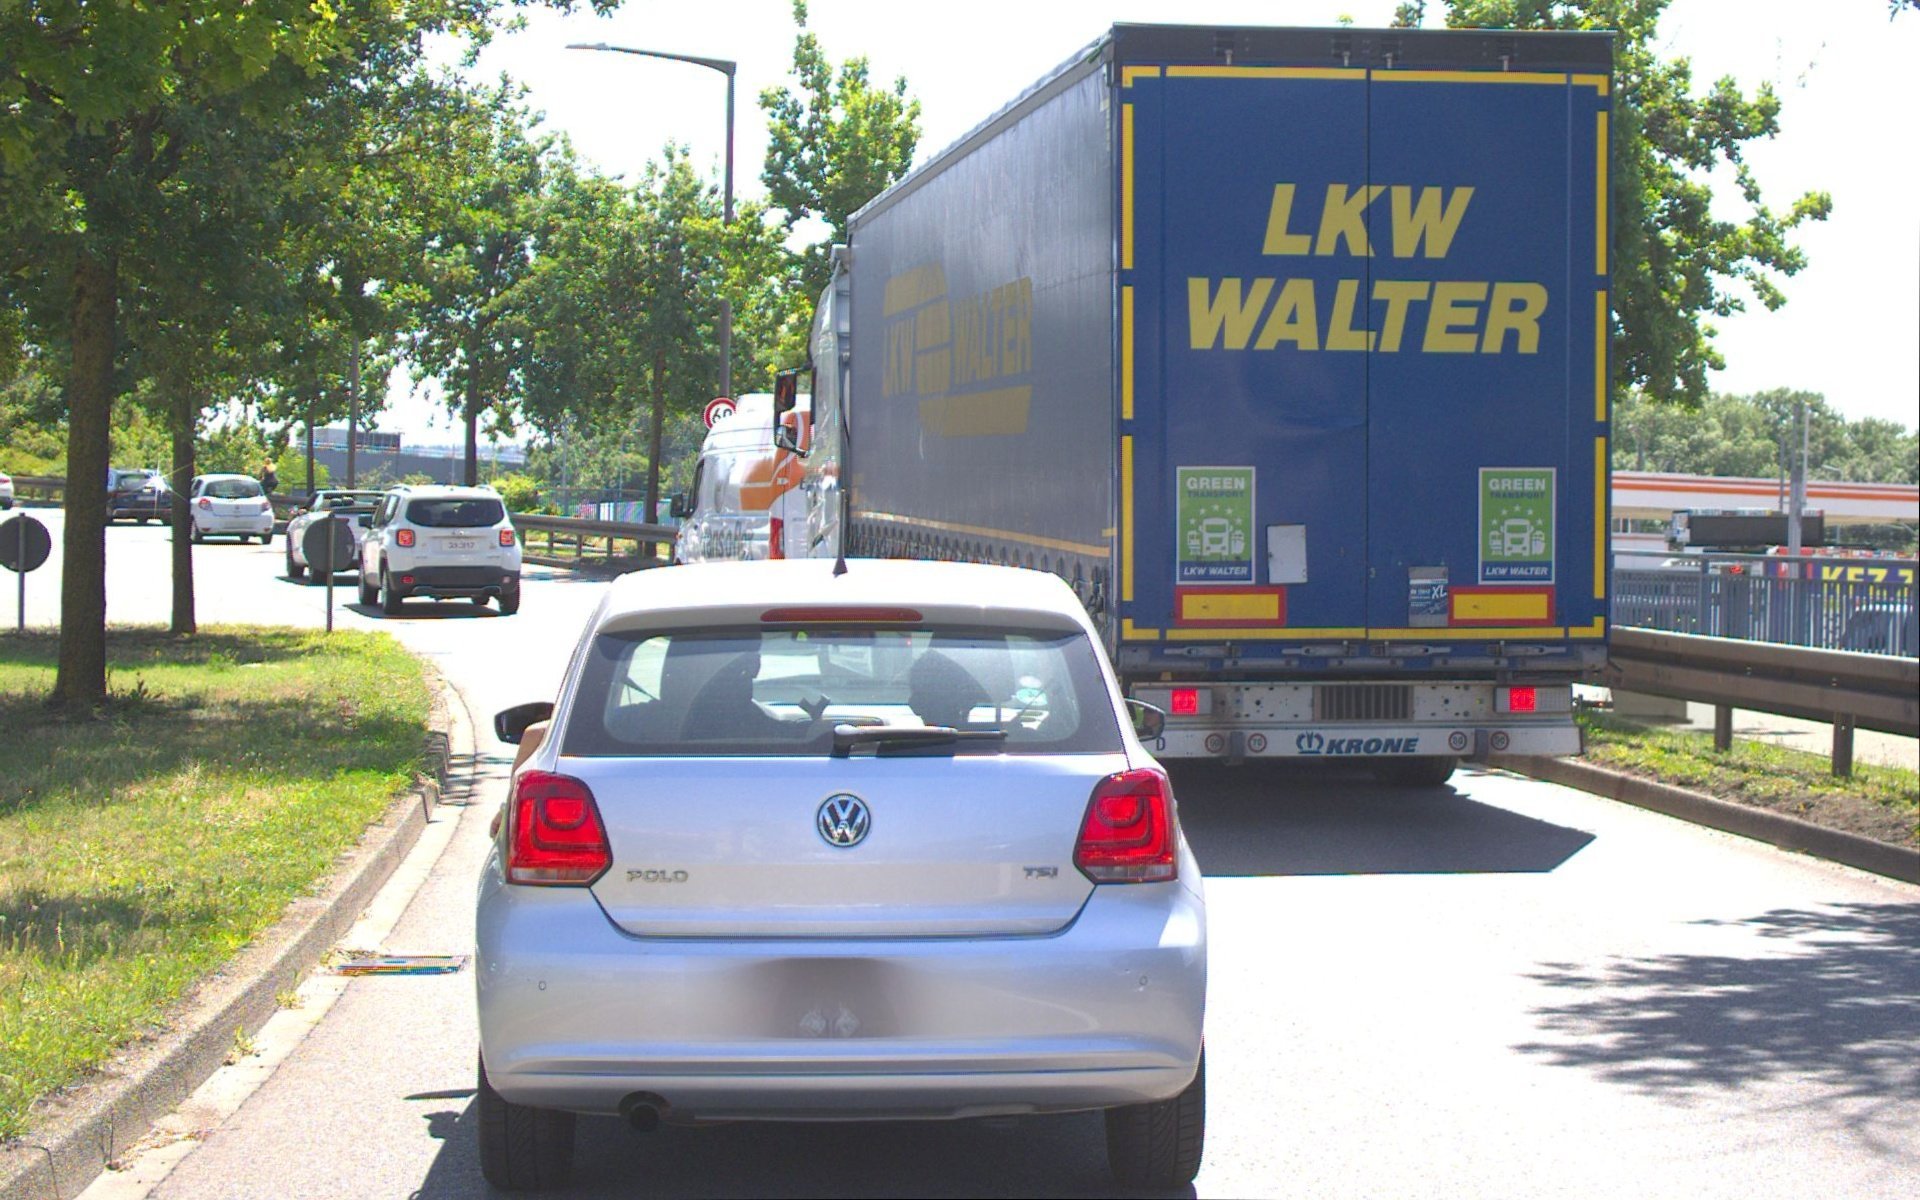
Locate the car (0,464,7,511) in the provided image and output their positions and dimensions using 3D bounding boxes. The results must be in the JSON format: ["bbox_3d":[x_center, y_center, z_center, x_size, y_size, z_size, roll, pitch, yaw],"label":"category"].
[{"bbox_3d":[-28.331,-3.247,98.909,1.456,1.309,3.639,1,1,-20],"label":"car"}]

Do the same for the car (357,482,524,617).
[{"bbox_3d":[-7.055,-0.678,46.380,1.903,1.712,4.225,1,1,-13],"label":"car"}]

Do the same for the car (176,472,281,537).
[{"bbox_3d":[-15.885,-2.079,74.572,1.607,1.355,3.664,1,1,-22],"label":"car"}]

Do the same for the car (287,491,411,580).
[{"bbox_3d":[-9.882,-1.058,55.452,1.494,1.355,3.664,1,1,-18],"label":"car"}]

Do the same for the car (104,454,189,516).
[{"bbox_3d":[-20.645,-2.894,87.161,1.664,1.460,3.582,1,1,-20],"label":"car"}]

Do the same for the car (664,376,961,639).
[{"bbox_3d":[-1.902,-1.159,41.545,2.175,2.890,6.361,1,2,-15],"label":"car"}]

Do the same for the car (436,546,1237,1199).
[{"bbox_3d":[-0.303,0.600,8.934,1.646,1.434,3.537,1,1,-2],"label":"car"}]

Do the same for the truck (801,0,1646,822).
[{"bbox_3d":[0.945,-1.207,25.171,2.832,4.184,16.479,1,1,-7],"label":"truck"}]
